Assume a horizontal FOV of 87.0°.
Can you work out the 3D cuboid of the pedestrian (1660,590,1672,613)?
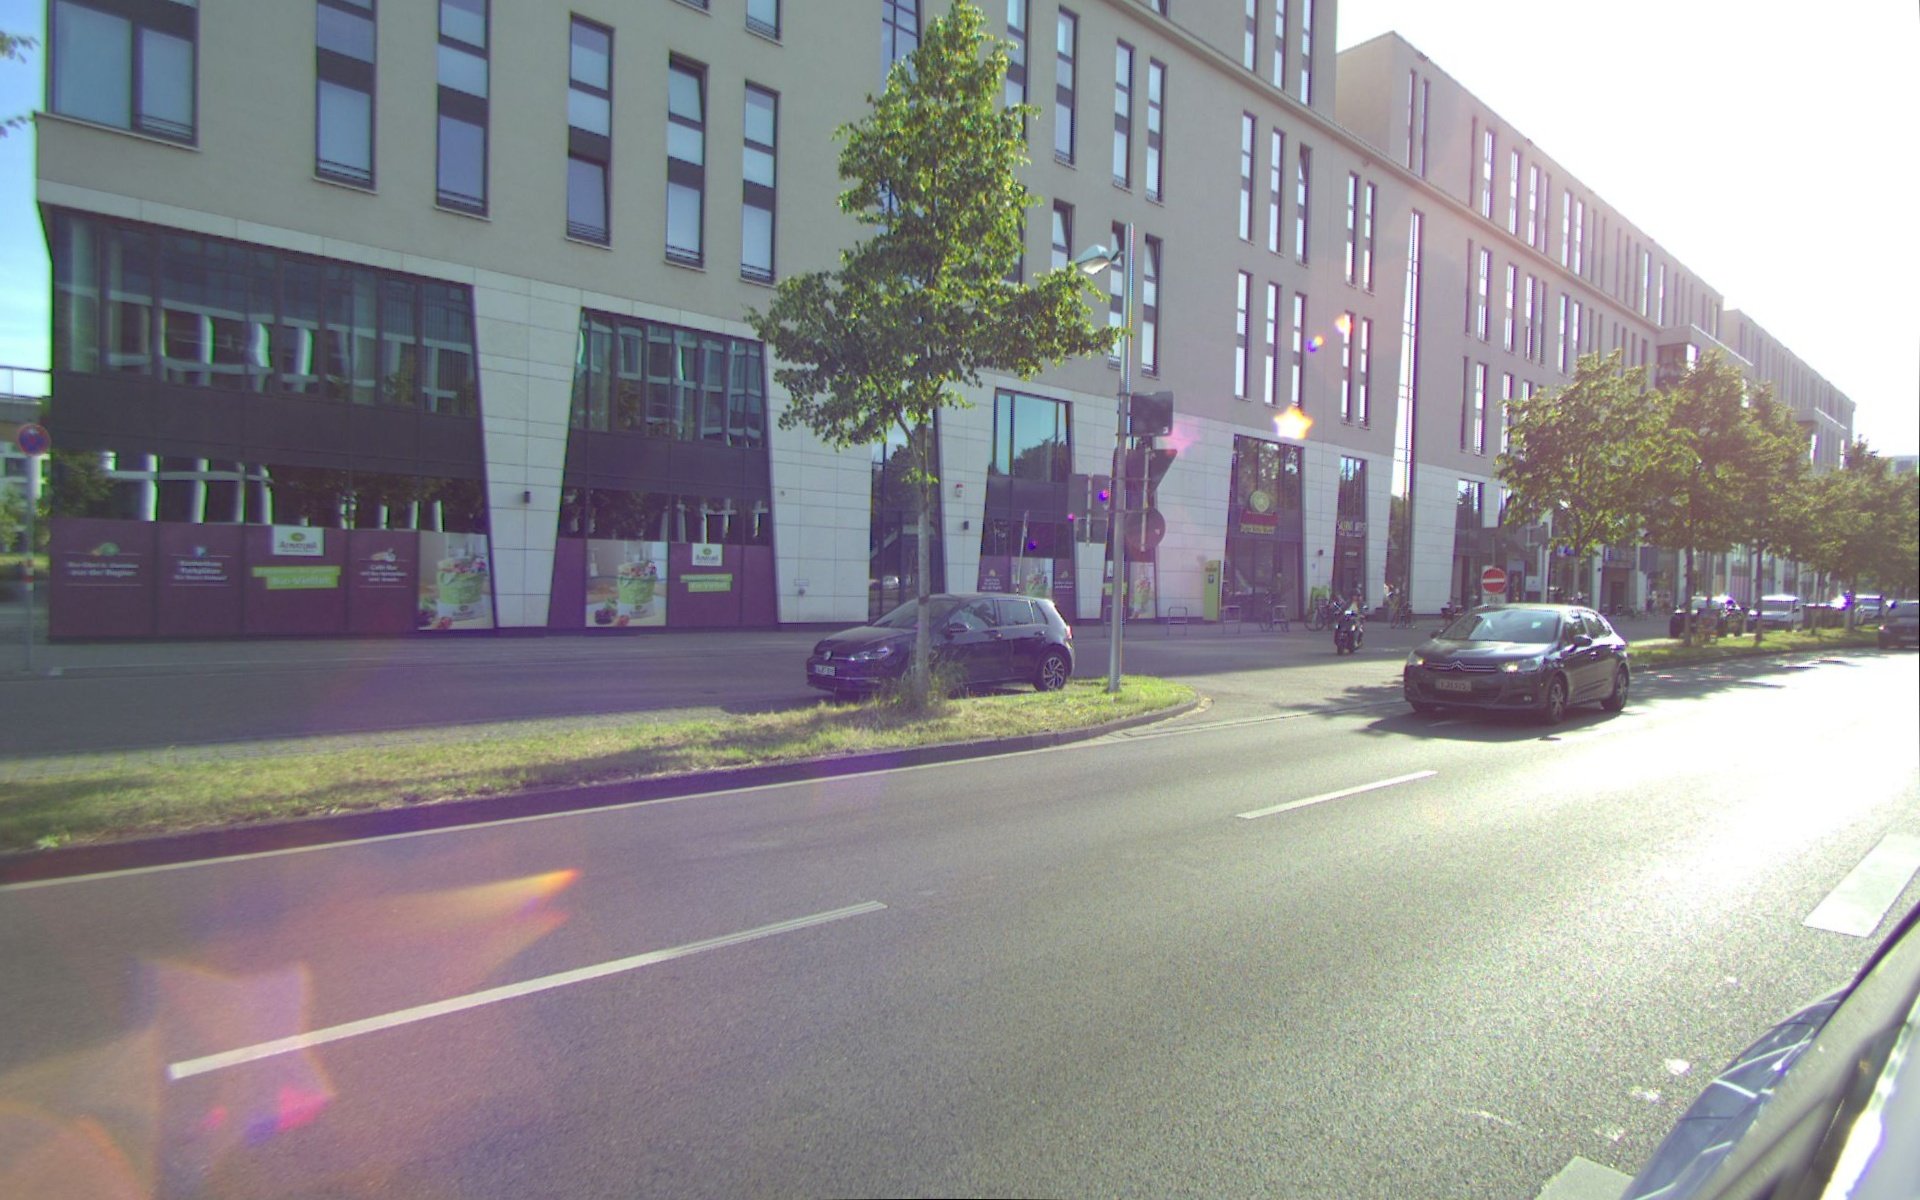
[{"bbox_3d":[48.191,0.079,69.097,0.587,1.541,0.514,0,0,-41],"label":"pedestrian"}]

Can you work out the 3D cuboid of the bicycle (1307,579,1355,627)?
[{"bbox_3d":[12.826,0.083,34.980,2.174,1.587,0.556,-1,0,-40],"label":"bicycle"}]

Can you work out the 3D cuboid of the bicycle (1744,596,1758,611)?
[{"bbox_3d":[58.172,0.241,74.419,1.702,1.094,0.345,-1,5,-40],"label":"bicycle"}]

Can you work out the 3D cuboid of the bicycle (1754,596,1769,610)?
[{"bbox_3d":[60.873,0.242,76.877,2.008,1.012,0.419,-1,5,-40],"label":"bicycle"}]

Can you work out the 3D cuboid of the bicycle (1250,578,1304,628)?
[{"bbox_3d":[10.413,0.074,33.197,2.236,1.590,0.556,-1,0,-40],"label":"bicycle"}]

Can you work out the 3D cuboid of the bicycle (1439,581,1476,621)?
[{"bbox_3d":[20.673,0.015,42.062,2.174,1.639,0.556,-1,0,-40],"label":"bicycle"}]

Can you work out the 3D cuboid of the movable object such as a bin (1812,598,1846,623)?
[{"bbox_3d":[46.882,0.555,54.613,1.159,1.307,1.278,0,0,-44],"label":"movable object such as a bin"}]

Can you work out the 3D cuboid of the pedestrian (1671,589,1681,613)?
[{"bbox_3d":[48.634,0.081,68.697,0.536,1.594,0.509,0,0,34],"label":"pedestrian"}]

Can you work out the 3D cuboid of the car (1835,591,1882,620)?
[{"bbox_3d":[56.223,0.324,63.301,4.769,1.650,1.732,-1,2,-44],"label":"car"}]

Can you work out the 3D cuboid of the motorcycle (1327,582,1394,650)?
[{"bbox_3d":[10.315,0.391,26.032,1.978,1.636,0.702,-1,5,-43],"label":"motorcycle"}]

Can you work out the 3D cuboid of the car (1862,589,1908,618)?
[{"bbox_3d":[63.252,0.237,69.172,4.945,1.899,1.840,-1,1,-42],"label":"car"}]

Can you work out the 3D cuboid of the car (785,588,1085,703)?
[{"bbox_3d":[-0.256,0.534,14.183,4.082,1.388,1.611,-1,1,-38],"label":"car"}]

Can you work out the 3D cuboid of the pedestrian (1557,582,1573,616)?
[{"bbox_3d":[31.703,-0.066,53.040,0.635,1.785,0.538,0,0,-40],"label":"pedestrian"}]

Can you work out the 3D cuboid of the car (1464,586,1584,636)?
[{"bbox_3d":[15.428,0.264,27.617,3.838,1.258,1.710,-1,1,-42],"label":"car"}]

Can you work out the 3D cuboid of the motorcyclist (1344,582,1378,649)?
[{"bbox_3d":[10.290,0.393,25.974,0.411,1.660,0.624,0,3,-44],"label":"motorcyclist"}]

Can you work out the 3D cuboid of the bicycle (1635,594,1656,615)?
[{"bbox_3d":[39.083,0.260,57.712,1.911,1.130,0.493,-1,2,-41],"label":"bicycle"}]

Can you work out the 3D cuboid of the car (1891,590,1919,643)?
[{"bbox_3d":[36.806,0.597,38.333,4.737,1.915,1.802,-1,0,-41],"label":"car"}]

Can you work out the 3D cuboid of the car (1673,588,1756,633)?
[{"bbox_3d":[30.623,0.431,41.016,4.598,1.730,1.899,1,0,-43],"label":"car"}]

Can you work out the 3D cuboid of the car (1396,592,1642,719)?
[{"bbox_3d":[7.627,0.626,13.651,3.970,1.442,1.697,-1,1,-42],"label":"car"}]

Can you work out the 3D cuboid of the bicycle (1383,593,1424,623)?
[{"bbox_3d":[17.020,0.312,38.815,1.871,1.097,0.635,0,2,-40],"label":"bicycle"}]

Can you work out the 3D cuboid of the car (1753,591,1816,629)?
[{"bbox_3d":[39.967,0.435,49.034,4.224,1.733,1.829,-1,1,-43],"label":"car"}]
